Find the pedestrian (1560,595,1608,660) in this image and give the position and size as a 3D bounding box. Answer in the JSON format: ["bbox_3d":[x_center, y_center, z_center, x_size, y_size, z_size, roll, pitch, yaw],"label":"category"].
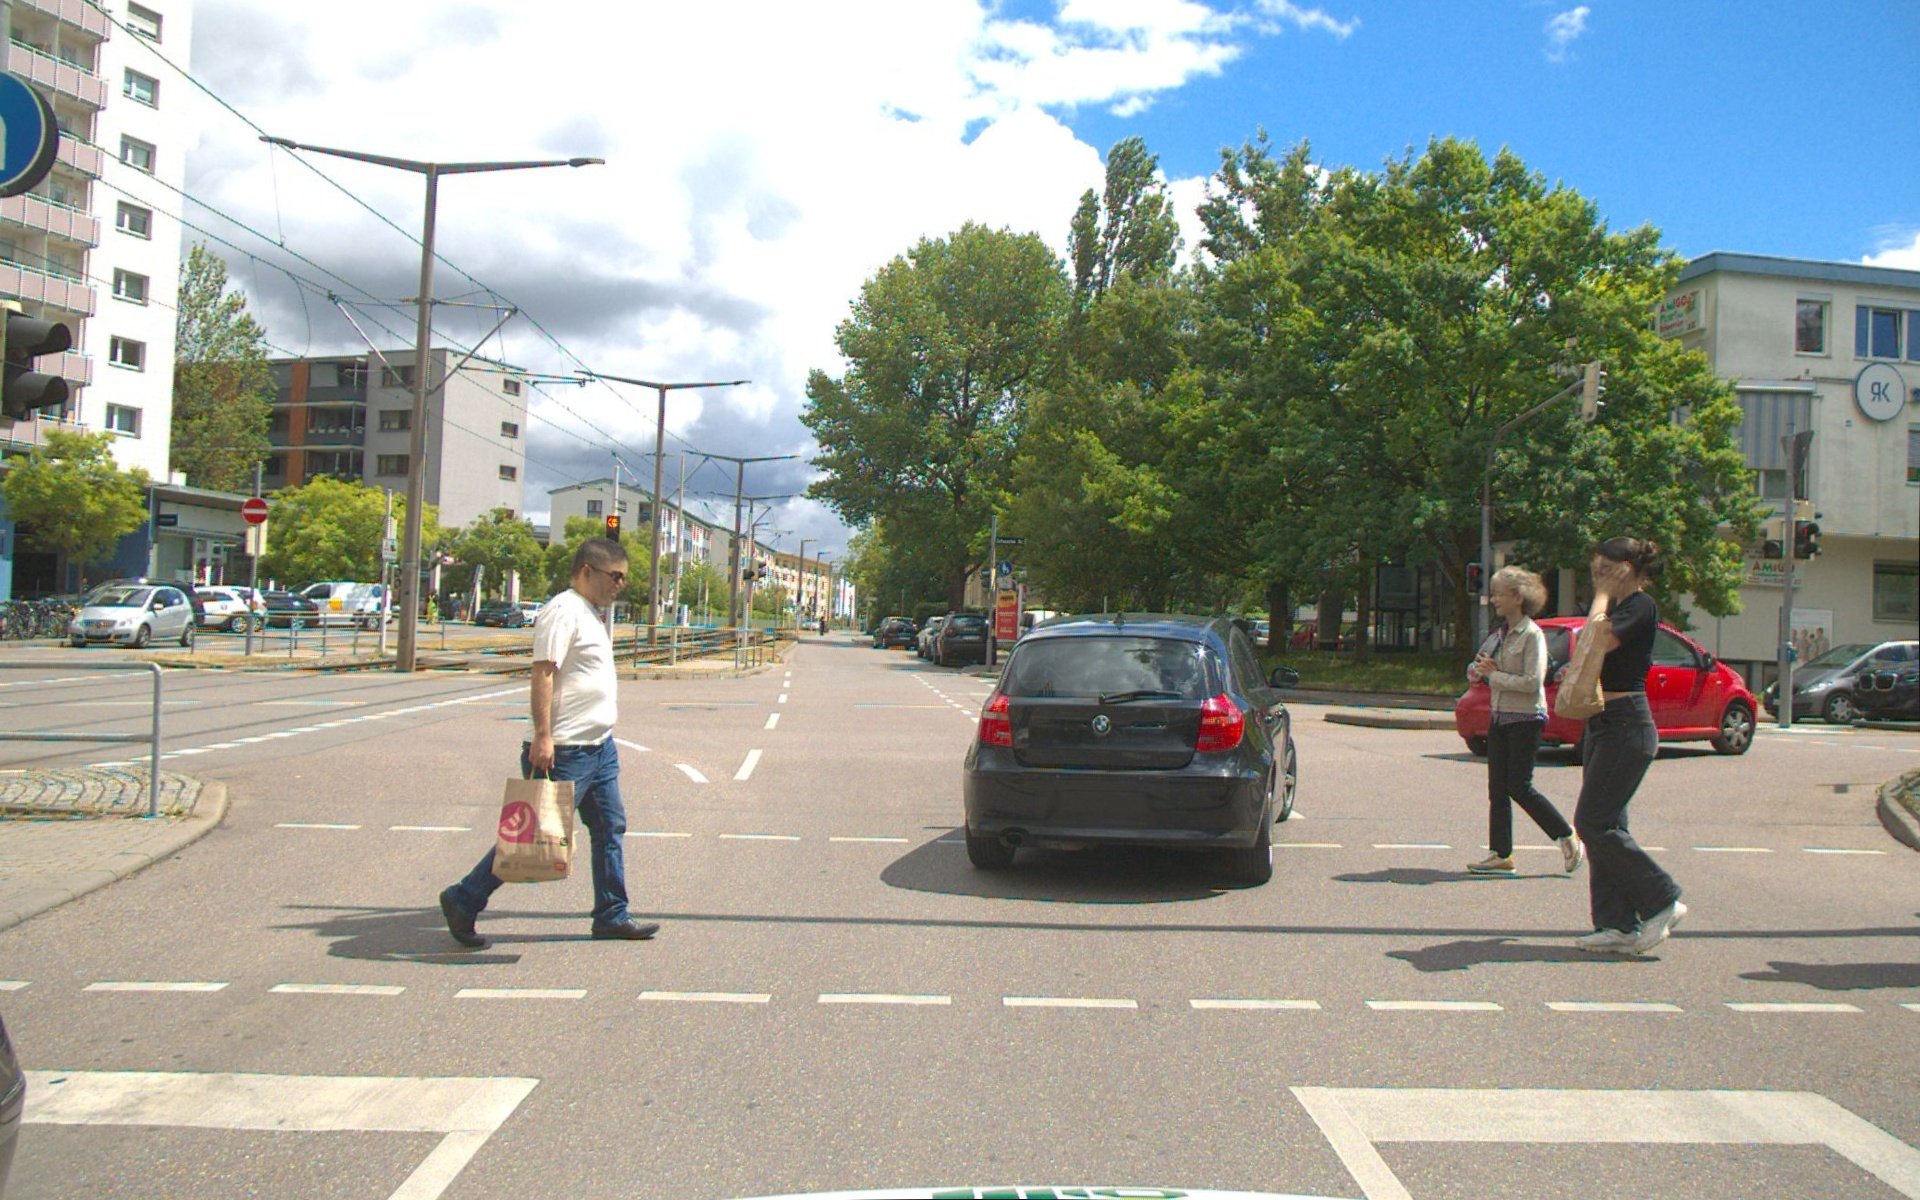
[{"bbox_3d":[16.250,0.709,43.116,0.756,1.672,0.903,2,0,-16],"label":"pedestrian"}]

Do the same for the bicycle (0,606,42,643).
[{"bbox_3d":[-24.945,0.626,42.893,1.909,0.951,0.494,1,-1,-7],"label":"bicycle"}]

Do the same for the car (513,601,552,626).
[{"bbox_3d":[-25.665,0.789,99.305,1.728,1.419,3.993,1,0,-7],"label":"car"}]

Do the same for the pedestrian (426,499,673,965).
[{"bbox_3d":[-1.695,0.528,6.951,0.851,1.839,0.741,1,0,-5],"label":"pedestrian"}]

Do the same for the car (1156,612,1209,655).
[{"bbox_3d":[10.162,1.513,75.805,1.598,1.842,4.029,1,0,-4],"label":"car"}]

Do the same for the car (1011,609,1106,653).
[{"bbox_3d":[4.434,1.395,74.572,3.933,1.855,1.766,1,0,-24],"label":"car"}]

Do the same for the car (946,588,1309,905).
[{"bbox_3d":[1.234,0.724,10.260,1.715,1.513,4.003,1,0,13],"label":"car"}]

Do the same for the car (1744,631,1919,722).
[{"bbox_3d":[17.239,1.440,31.390,3.838,1.583,1.994,1,0,-12],"label":"car"}]

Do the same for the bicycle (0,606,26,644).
[{"bbox_3d":[-24.814,0.623,41.919,1.909,0.951,0.494,1,-1,-7],"label":"bicycle"}]

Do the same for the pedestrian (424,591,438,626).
[{"bbox_3d":[-27.144,0.430,84.887,0.537,1.746,0.667,1,0,-11],"label":"pedestrian"}]

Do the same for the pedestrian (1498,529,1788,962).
[{"bbox_3d":[3.008,0.604,7.340,0.917,1.796,0.770,0,0,-12],"label":"pedestrian"}]

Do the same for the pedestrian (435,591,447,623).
[{"bbox_3d":[-28.589,0.374,91.078,0.537,1.746,0.404,1,0,-11],"label":"pedestrian"}]

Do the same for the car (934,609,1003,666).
[{"bbox_3d":[0.232,1.202,52.991,2.108,1.713,3.999,1,-1,-1],"label":"car"}]

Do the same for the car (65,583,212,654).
[{"bbox_3d":[-21.240,0.450,42.937,1.898,1.722,3.872,1,0,-1],"label":"car"}]

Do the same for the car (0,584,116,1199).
[{"bbox_3d":[-2.593,0.696,1.155,1.693,1.487,4.543,1,0,-1],"label":"car"}]

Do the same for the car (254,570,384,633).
[{"bbox_3d":[-27.285,0.034,70.250,2.811,2.522,6.614,1,0,-44],"label":"car"}]

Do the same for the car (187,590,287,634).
[{"bbox_3d":[-27.150,0.436,62.052,4.144,1.564,1.949,1,0,43],"label":"car"}]

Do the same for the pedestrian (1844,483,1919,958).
[{"bbox_3d":[4.471,0.510,6.973,0.947,1.976,0.896,1,0,-5],"label":"pedestrian"}]

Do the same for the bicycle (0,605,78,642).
[{"bbox_3d":[-24.836,0.637,44.485,1.909,0.951,0.494,1,-1,-7],"label":"bicycle"}]

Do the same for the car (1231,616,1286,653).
[{"bbox_3d":[14.059,1.612,78.051,1.598,1.623,3.997,1,0,-4],"label":"car"}]

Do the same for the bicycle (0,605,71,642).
[{"bbox_3d":[-24.784,0.635,44.007,1.909,0.951,0.494,1,-1,-7],"label":"bicycle"}]

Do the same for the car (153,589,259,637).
[{"bbox_3d":[-26.801,0.464,58.748,4.144,1.597,1.949,1,0,43],"label":"car"}]

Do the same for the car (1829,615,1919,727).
[{"bbox_3d":[17.100,1.173,27.401,4.472,1.747,1.997,1,0,-8],"label":"car"}]

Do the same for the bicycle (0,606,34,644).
[{"bbox_3d":[-24.884,0.624,42.421,1.909,0.951,0.494,1,-1,-7],"label":"bicycle"}]

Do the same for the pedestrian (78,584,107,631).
[{"bbox_3d":[-30.347,0.255,57.872,0.755,1.643,0.695,1,0,-17],"label":"pedestrian"}]

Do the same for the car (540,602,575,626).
[{"bbox_3d":[-25.760,0.877,105.895,1.728,1.419,3.993,1,0,-7],"label":"car"}]

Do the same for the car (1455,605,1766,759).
[{"bbox_3d":[6.920,0.828,17.540,3.156,1.466,1.529,1,0,-33],"label":"car"}]

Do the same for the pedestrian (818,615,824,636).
[{"bbox_3d":[-11.061,2.002,131.488,0.328,1.656,0.356,1,0,-19],"label":"pedestrian"}]

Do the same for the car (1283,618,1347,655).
[{"bbox_3d":[16.808,1.700,78.436,1.698,1.623,3.993,1,0,-8],"label":"car"}]

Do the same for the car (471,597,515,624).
[{"bbox_3d":[-25.850,0.587,91.714,1.728,1.419,3.993,1,0,-7],"label":"car"}]

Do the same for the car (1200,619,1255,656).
[{"bbox_3d":[12.363,1.698,76.635,1.598,1.600,4.029,1,0,-4],"label":"car"}]

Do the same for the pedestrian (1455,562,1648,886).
[{"bbox_3d":[3.276,0.654,9.253,0.932,1.703,0.871,0,0,14],"label":"pedestrian"}]

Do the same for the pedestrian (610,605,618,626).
[{"bbox_3d":[-27.229,1.231,130.174,0.444,1.665,0.480,1,0,-3],"label":"pedestrian"}]

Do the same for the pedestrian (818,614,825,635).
[{"bbox_3d":[-11.012,1.924,131.379,0.469,1.665,0.454,1,0,-2],"label":"pedestrian"}]

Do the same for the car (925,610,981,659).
[{"bbox_3d":[-0.267,1.262,60.429,1.953,1.713,3.999,1,-1,-1],"label":"car"}]

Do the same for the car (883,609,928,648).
[{"bbox_3d":[-2.463,1.281,75.712,1.953,1.713,3.999,1,0,-1],"label":"car"}]

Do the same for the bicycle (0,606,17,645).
[{"bbox_3d":[-24.771,0.621,41.437,1.909,0.951,0.494,1,-1,-7],"label":"bicycle"}]

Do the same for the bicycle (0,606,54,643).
[{"bbox_3d":[-24.927,0.629,43.443,1.909,0.951,0.494,1,-1,-7],"label":"bicycle"}]

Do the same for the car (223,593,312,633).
[{"bbox_3d":[-27.277,0.502,65.110,4.147,1.445,1.777,1,0,45],"label":"car"}]
